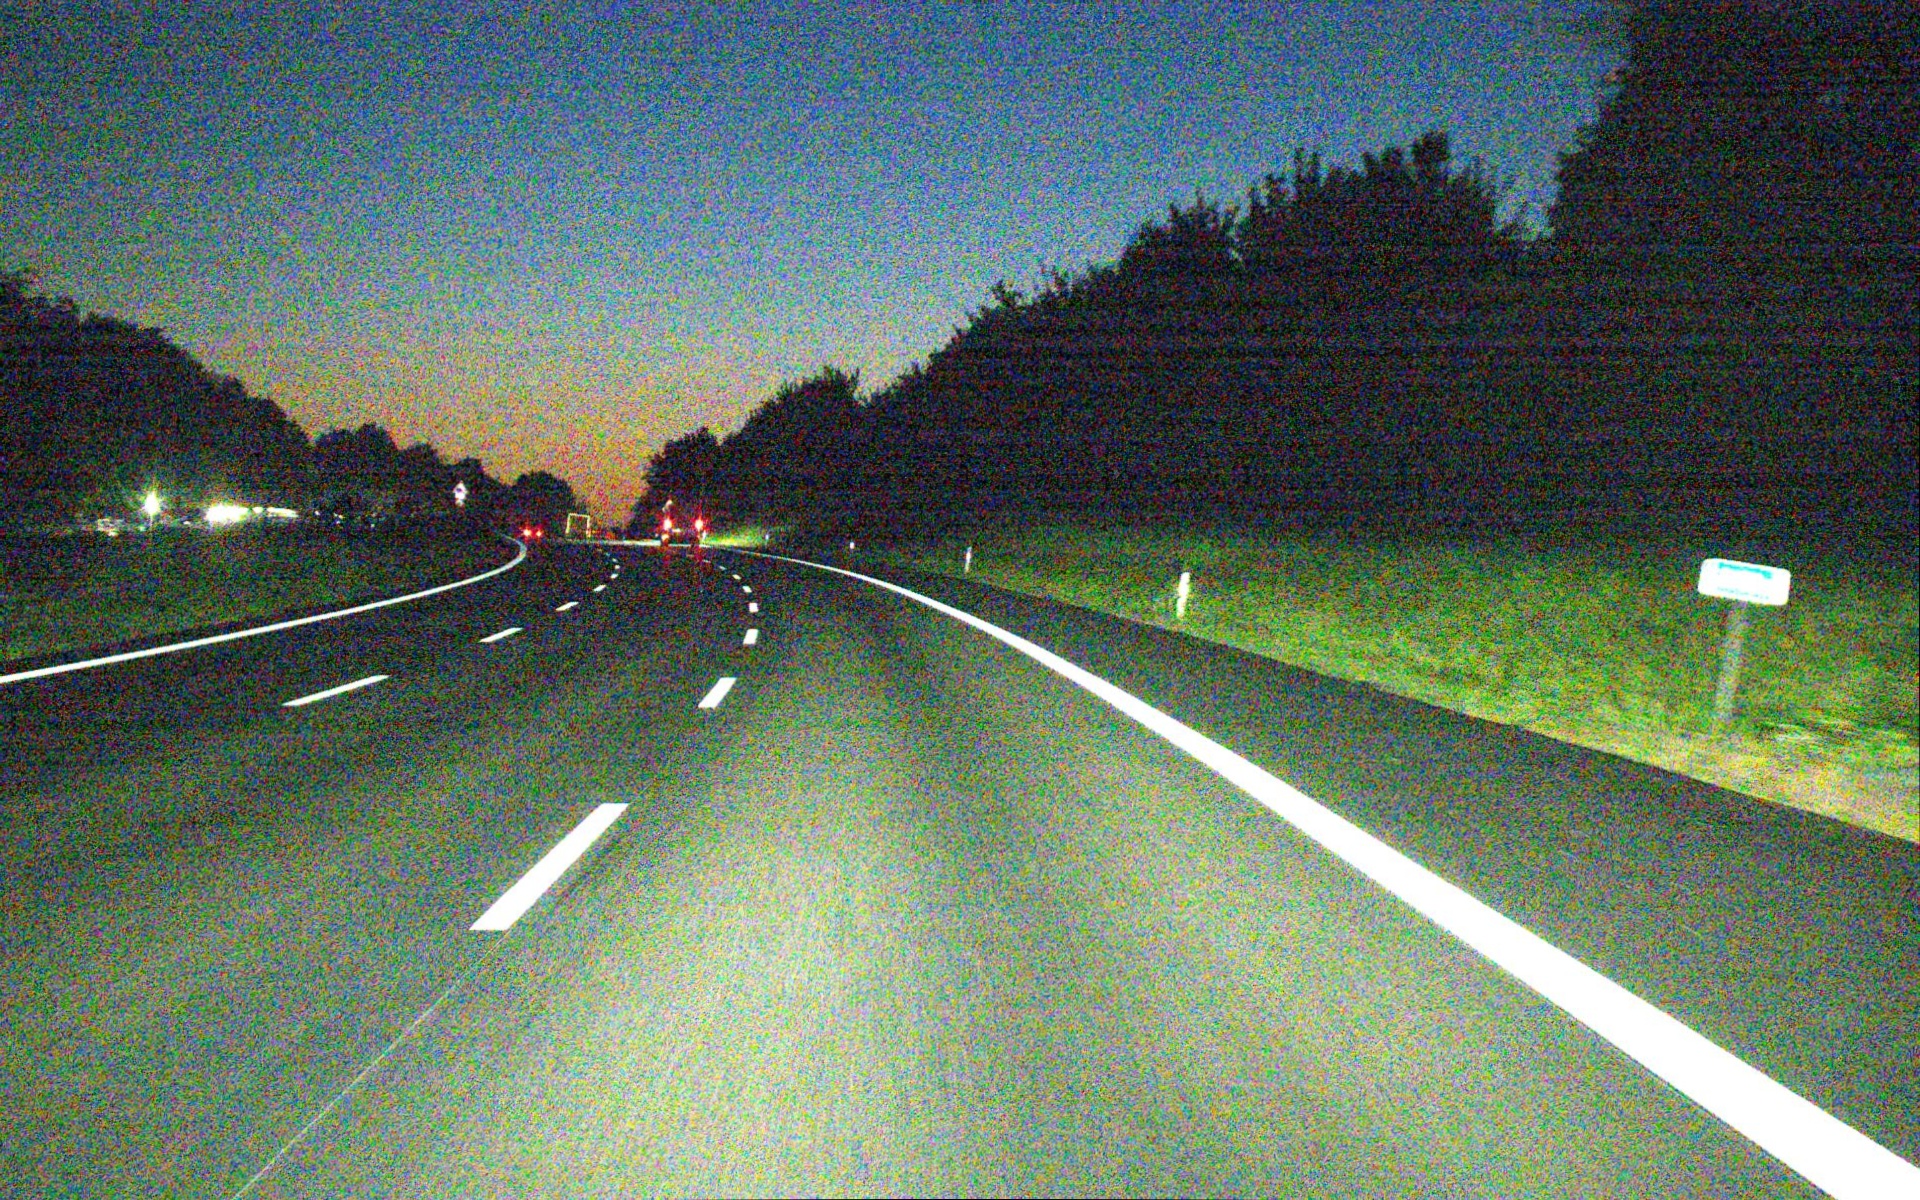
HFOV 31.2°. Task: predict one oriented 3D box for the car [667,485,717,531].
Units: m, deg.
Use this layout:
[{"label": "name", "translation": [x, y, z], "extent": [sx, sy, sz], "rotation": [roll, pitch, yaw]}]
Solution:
[{"label": "car", "translation": [-15.678, -5.386, 200.754], "extent": [2.527, 2.544, 6.053], "rotation": [3, 1, -7]}]
